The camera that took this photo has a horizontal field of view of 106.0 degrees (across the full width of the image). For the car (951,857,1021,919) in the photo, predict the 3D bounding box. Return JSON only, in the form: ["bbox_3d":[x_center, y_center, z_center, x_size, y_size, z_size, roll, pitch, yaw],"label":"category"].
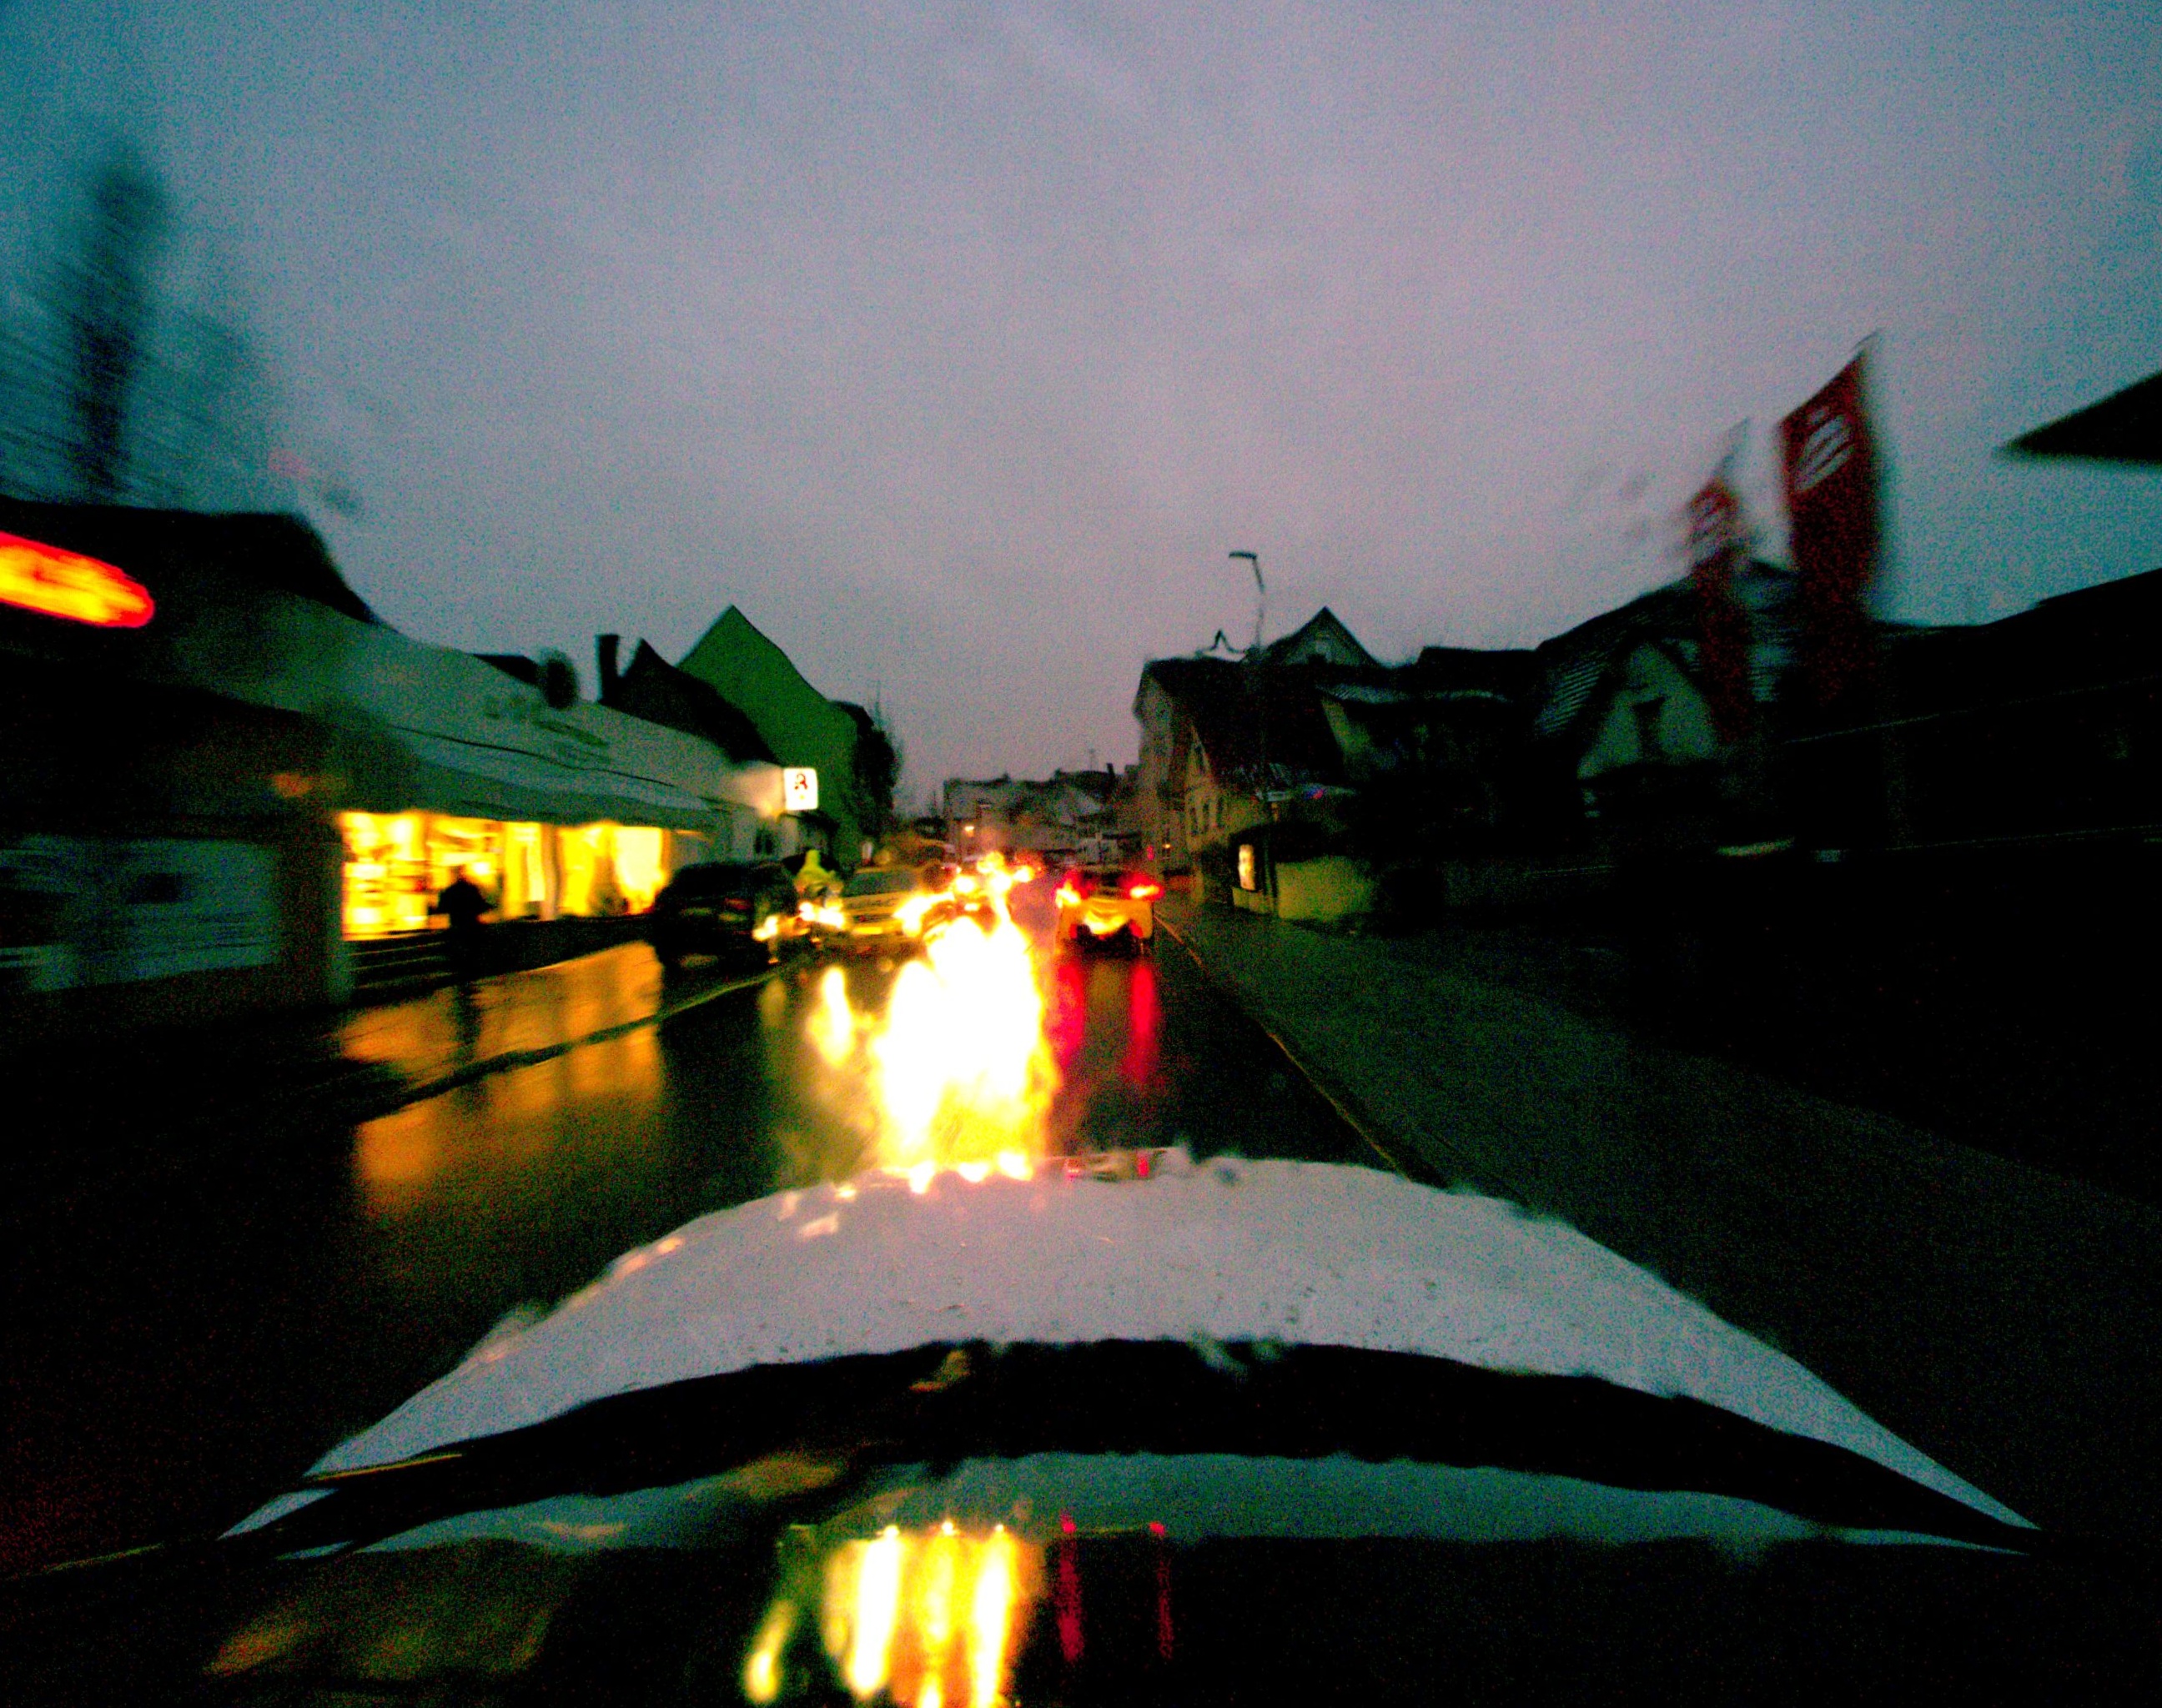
[{"bbox_3d":[-3.045,0.992,26.081,1.950,1.546,4.405,-3,2,-7],"label":"car"}]

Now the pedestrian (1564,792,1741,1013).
[{"bbox_3d":[4.760,0.390,6.857,0.832,1.705,0.847,-3,-1,6],"label":"pedestrian"}]

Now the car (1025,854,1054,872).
[{"bbox_3d":[-4.385,0.939,86.161,1.998,1.765,4.325,-3,0,-17],"label":"car"}]

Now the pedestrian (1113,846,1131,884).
[{"bbox_3d":[1.945,0.516,38.821,0.743,1.729,0.872,-2,0,-4],"label":"pedestrian"}]

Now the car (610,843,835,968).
[{"bbox_3d":[-6.016,0.752,14.480,2.082,1.792,5.016,-1,0,-5],"label":"car"}]

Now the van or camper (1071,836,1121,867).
[{"bbox_3d":[1.530,-0.213,87.426,2.663,3.047,6.682,-5,1,-23],"label":"van or camper"}]

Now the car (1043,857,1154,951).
[{"bbox_3d":[0.298,0.842,15.384,1.808,1.533,4.000,-1,-1,0],"label":"car"}]

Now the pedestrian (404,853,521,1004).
[{"bbox_3d":[-8.220,0.940,10.833,0.999,1.876,0.949,-2,-1,34],"label":"pedestrian"}]

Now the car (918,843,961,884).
[{"bbox_3d":[-9.243,0.657,53.682,2.483,2.560,6.743,0,-1,-7],"label":"car"}]

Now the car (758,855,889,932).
[{"bbox_3d":[-6.345,0.912,20.656,1.875,1.710,4.710,-1,-1,-1],"label":"car"}]

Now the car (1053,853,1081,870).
[{"bbox_3d":[-1.538,0.831,86.578,1.997,1.610,4.153,-4,-1,-15],"label":"car"}]

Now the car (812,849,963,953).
[{"bbox_3d":[-3.638,0.787,16.305,1.988,1.705,4.963,1,1,-2],"label":"car"}]

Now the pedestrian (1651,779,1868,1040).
[{"bbox_3d":[4.876,0.373,5.924,0.702,1.705,0.914,-3,-1,-3],"label":"pedestrian"}]

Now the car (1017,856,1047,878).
[{"bbox_3d":[-3.704,0.971,60.896,1.992,1.588,3.990,0,-1,-7],"label":"car"}]
